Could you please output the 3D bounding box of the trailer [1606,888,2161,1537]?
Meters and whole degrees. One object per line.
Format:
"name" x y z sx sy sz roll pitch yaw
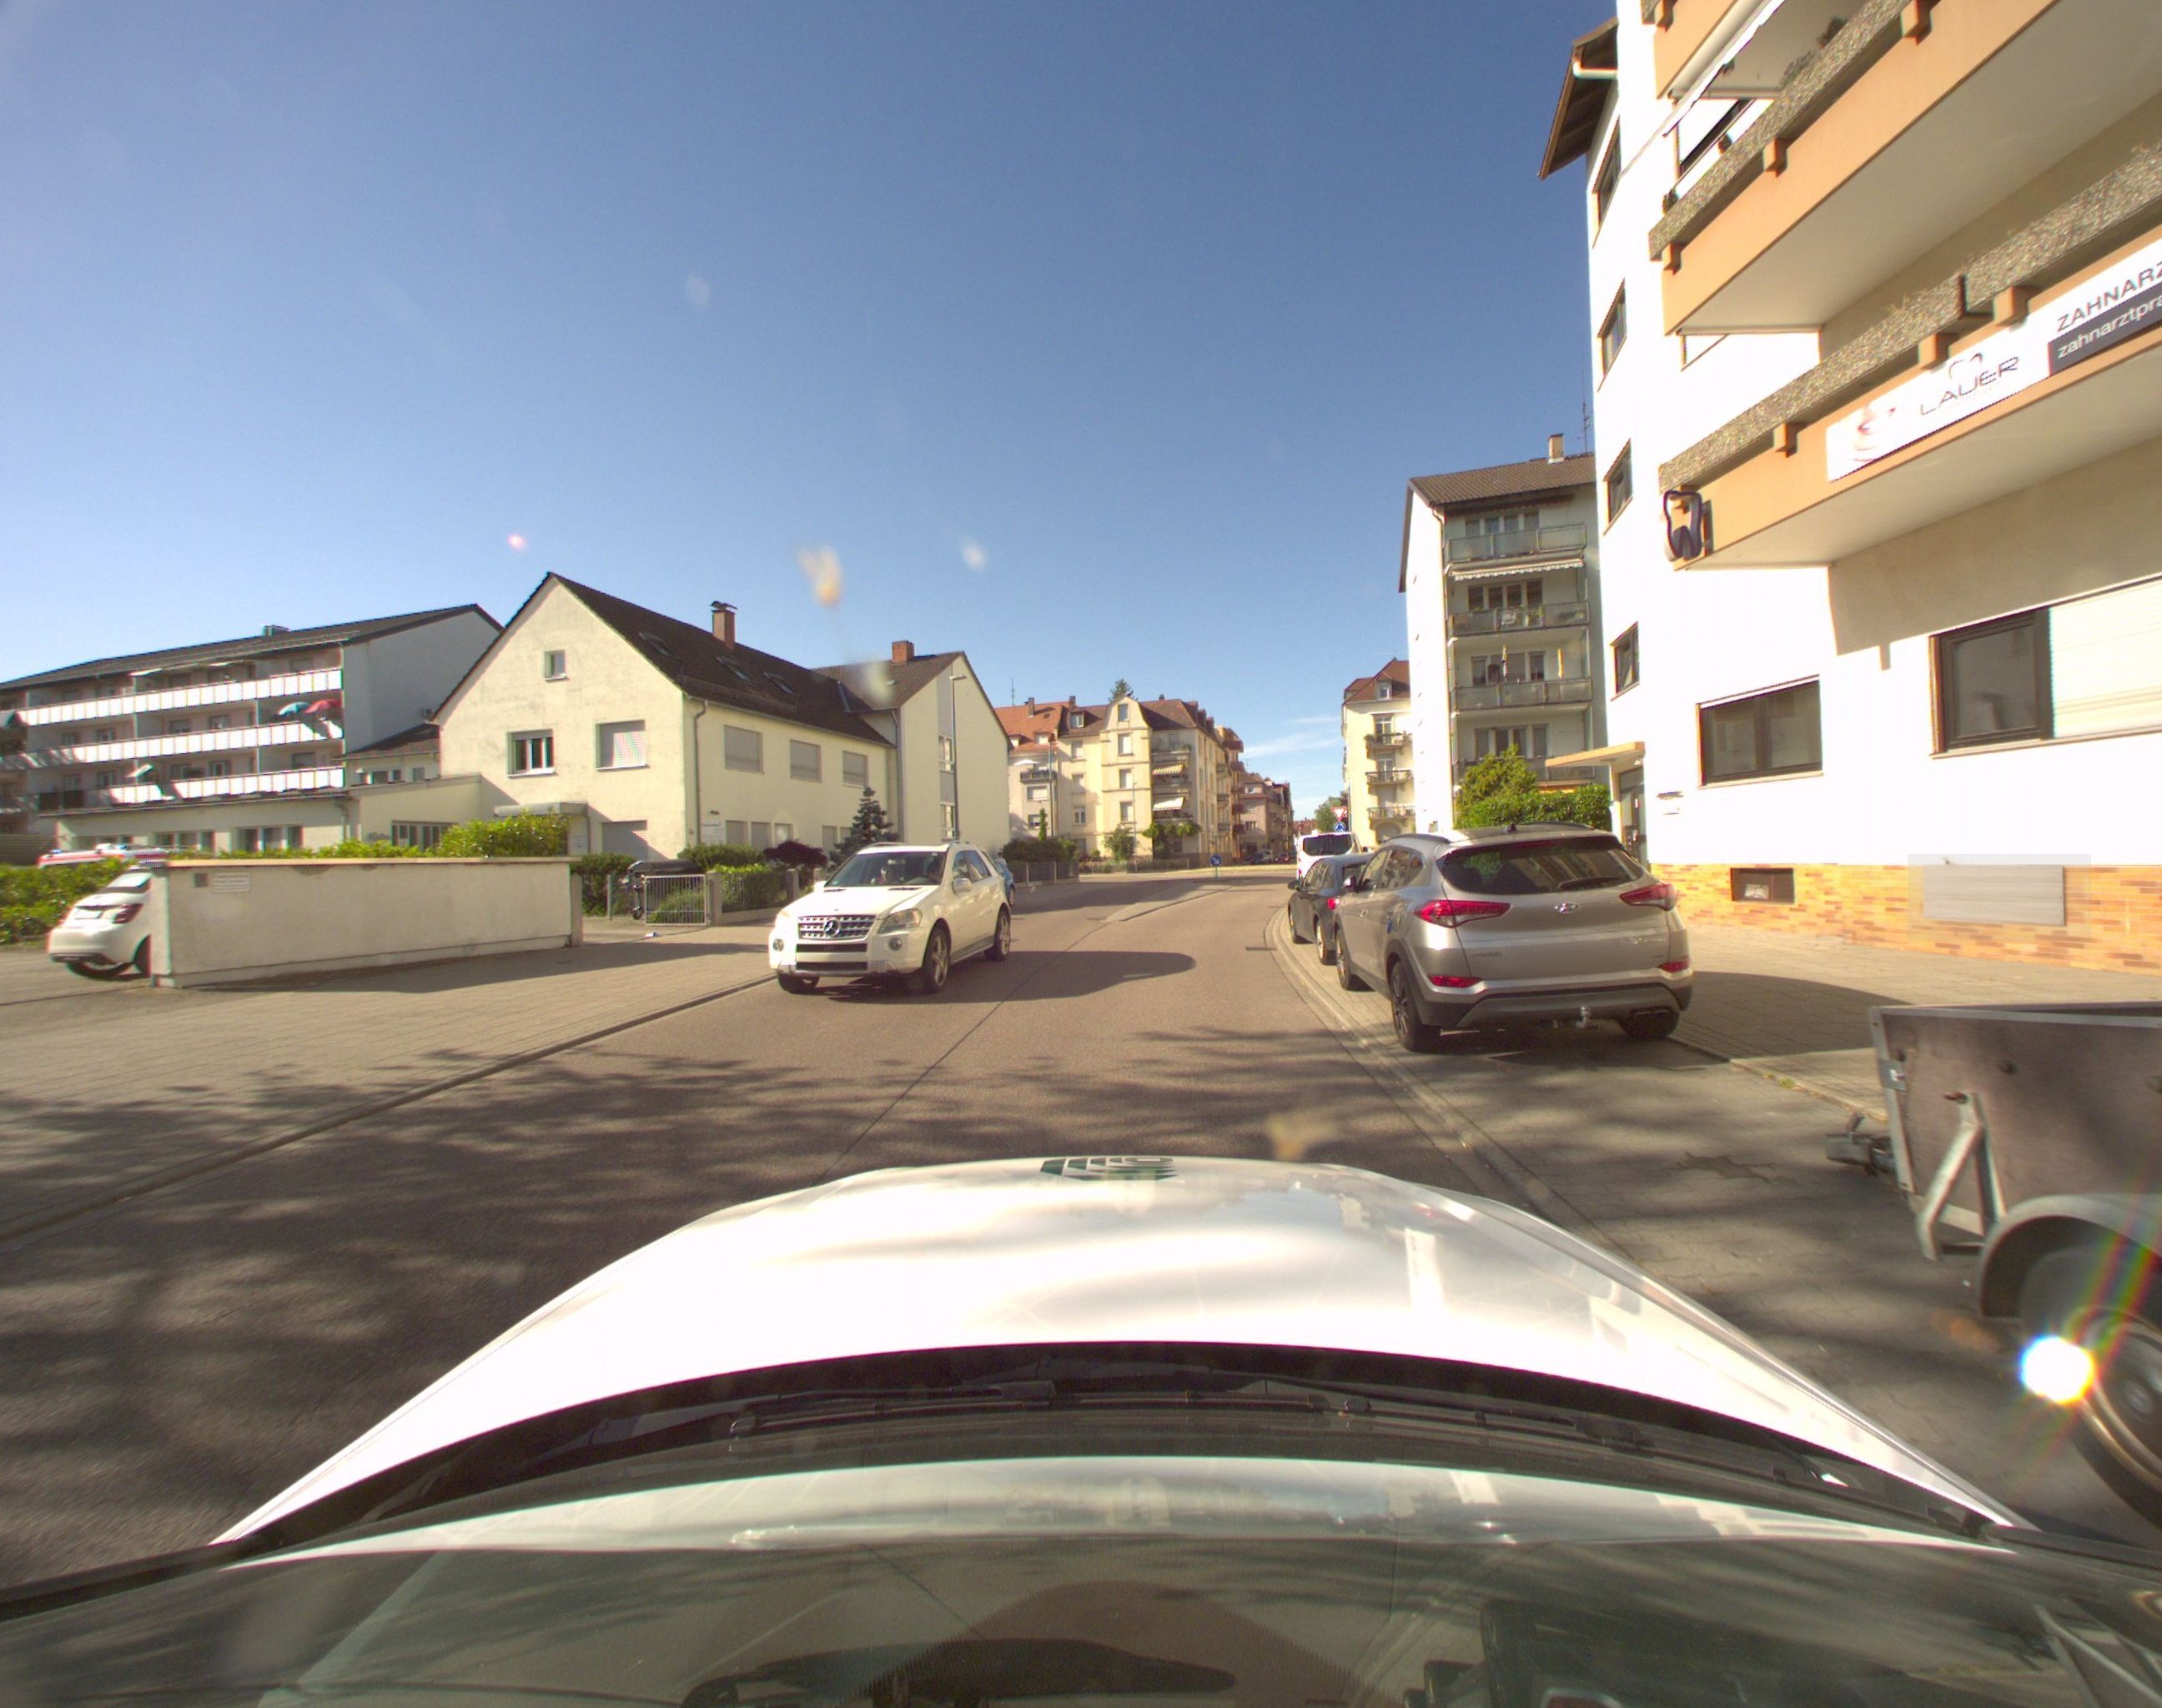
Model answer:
"trailer" 3.040 0.749 2.256 1.593 1.178 2.950 -2 -1 9

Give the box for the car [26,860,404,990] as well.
"car" -12.075 0.952 11.627 1.785 1.556 3.204 -3 -3 20

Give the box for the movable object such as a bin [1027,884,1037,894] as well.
"movable object such as a bin" -1.976 1.421 33.111 0.218 0.348 0.523 -2 0 19

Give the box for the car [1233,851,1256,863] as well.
"car" 29.811 0.493 148.559 3.865 2.014 1.773 -2 -1 25

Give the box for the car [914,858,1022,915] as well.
"car" -3.186 0.878 23.846 1.786 1.473 4.344 -1 0 11

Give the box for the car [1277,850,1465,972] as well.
"car" 4.103 0.713 12.254 1.708 1.408 4.323 -4 -1 7

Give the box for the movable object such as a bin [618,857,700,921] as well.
"movable object such as a bin" -10.276 0.854 19.889 1.273 1.490 1.231 -2 -3 13

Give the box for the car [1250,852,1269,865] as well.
"car" 22.373 0.556 101.987 1.978 1.532 4.017 -2 0 16

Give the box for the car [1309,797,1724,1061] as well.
"car" 3.414 0.597 7.527 1.807 1.654 4.568 -2 -3 7

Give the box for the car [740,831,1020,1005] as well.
"car" -2.322 0.697 10.878 1.978 1.785 4.530 -2 -1 9

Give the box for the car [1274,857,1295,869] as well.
"car" 25.598 1.159 102.237 1.724 1.354 3.691 -3 -3 26

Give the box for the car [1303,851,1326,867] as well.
"car" 28.456 0.633 99.114 2.411 1.811 4.746 -2 0 19

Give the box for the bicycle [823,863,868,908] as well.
"bicycle" -6.894 0.933 23.930 0.453 1.250 1.932 -2 -3 9

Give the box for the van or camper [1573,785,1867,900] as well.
"van or camper" 14.393 -0.222 18.717 4.922 2.288 1.863 -3 0 17

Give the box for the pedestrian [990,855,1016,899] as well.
"pedestrian" -3.106 0.926 32.452 0.677 1.704 0.828 -3 -3 18

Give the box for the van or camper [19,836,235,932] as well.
"van or camper" -27.115 0.877 23.180 5.176 2.398 2.160 -3 -2 18

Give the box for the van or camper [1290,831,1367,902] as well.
"van or camper" 7.930 0.355 25.795 2.004 1.947 4.726 -4 -1 19

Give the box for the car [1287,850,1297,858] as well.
"car" 44.645 -0.032 172.307 1.980 1.629 4.014 -2 0 13

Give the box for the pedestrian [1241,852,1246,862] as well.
"pedestrian" 27.633 0.541 138.486 0.793 1.750 0.849 -2 -1 19
